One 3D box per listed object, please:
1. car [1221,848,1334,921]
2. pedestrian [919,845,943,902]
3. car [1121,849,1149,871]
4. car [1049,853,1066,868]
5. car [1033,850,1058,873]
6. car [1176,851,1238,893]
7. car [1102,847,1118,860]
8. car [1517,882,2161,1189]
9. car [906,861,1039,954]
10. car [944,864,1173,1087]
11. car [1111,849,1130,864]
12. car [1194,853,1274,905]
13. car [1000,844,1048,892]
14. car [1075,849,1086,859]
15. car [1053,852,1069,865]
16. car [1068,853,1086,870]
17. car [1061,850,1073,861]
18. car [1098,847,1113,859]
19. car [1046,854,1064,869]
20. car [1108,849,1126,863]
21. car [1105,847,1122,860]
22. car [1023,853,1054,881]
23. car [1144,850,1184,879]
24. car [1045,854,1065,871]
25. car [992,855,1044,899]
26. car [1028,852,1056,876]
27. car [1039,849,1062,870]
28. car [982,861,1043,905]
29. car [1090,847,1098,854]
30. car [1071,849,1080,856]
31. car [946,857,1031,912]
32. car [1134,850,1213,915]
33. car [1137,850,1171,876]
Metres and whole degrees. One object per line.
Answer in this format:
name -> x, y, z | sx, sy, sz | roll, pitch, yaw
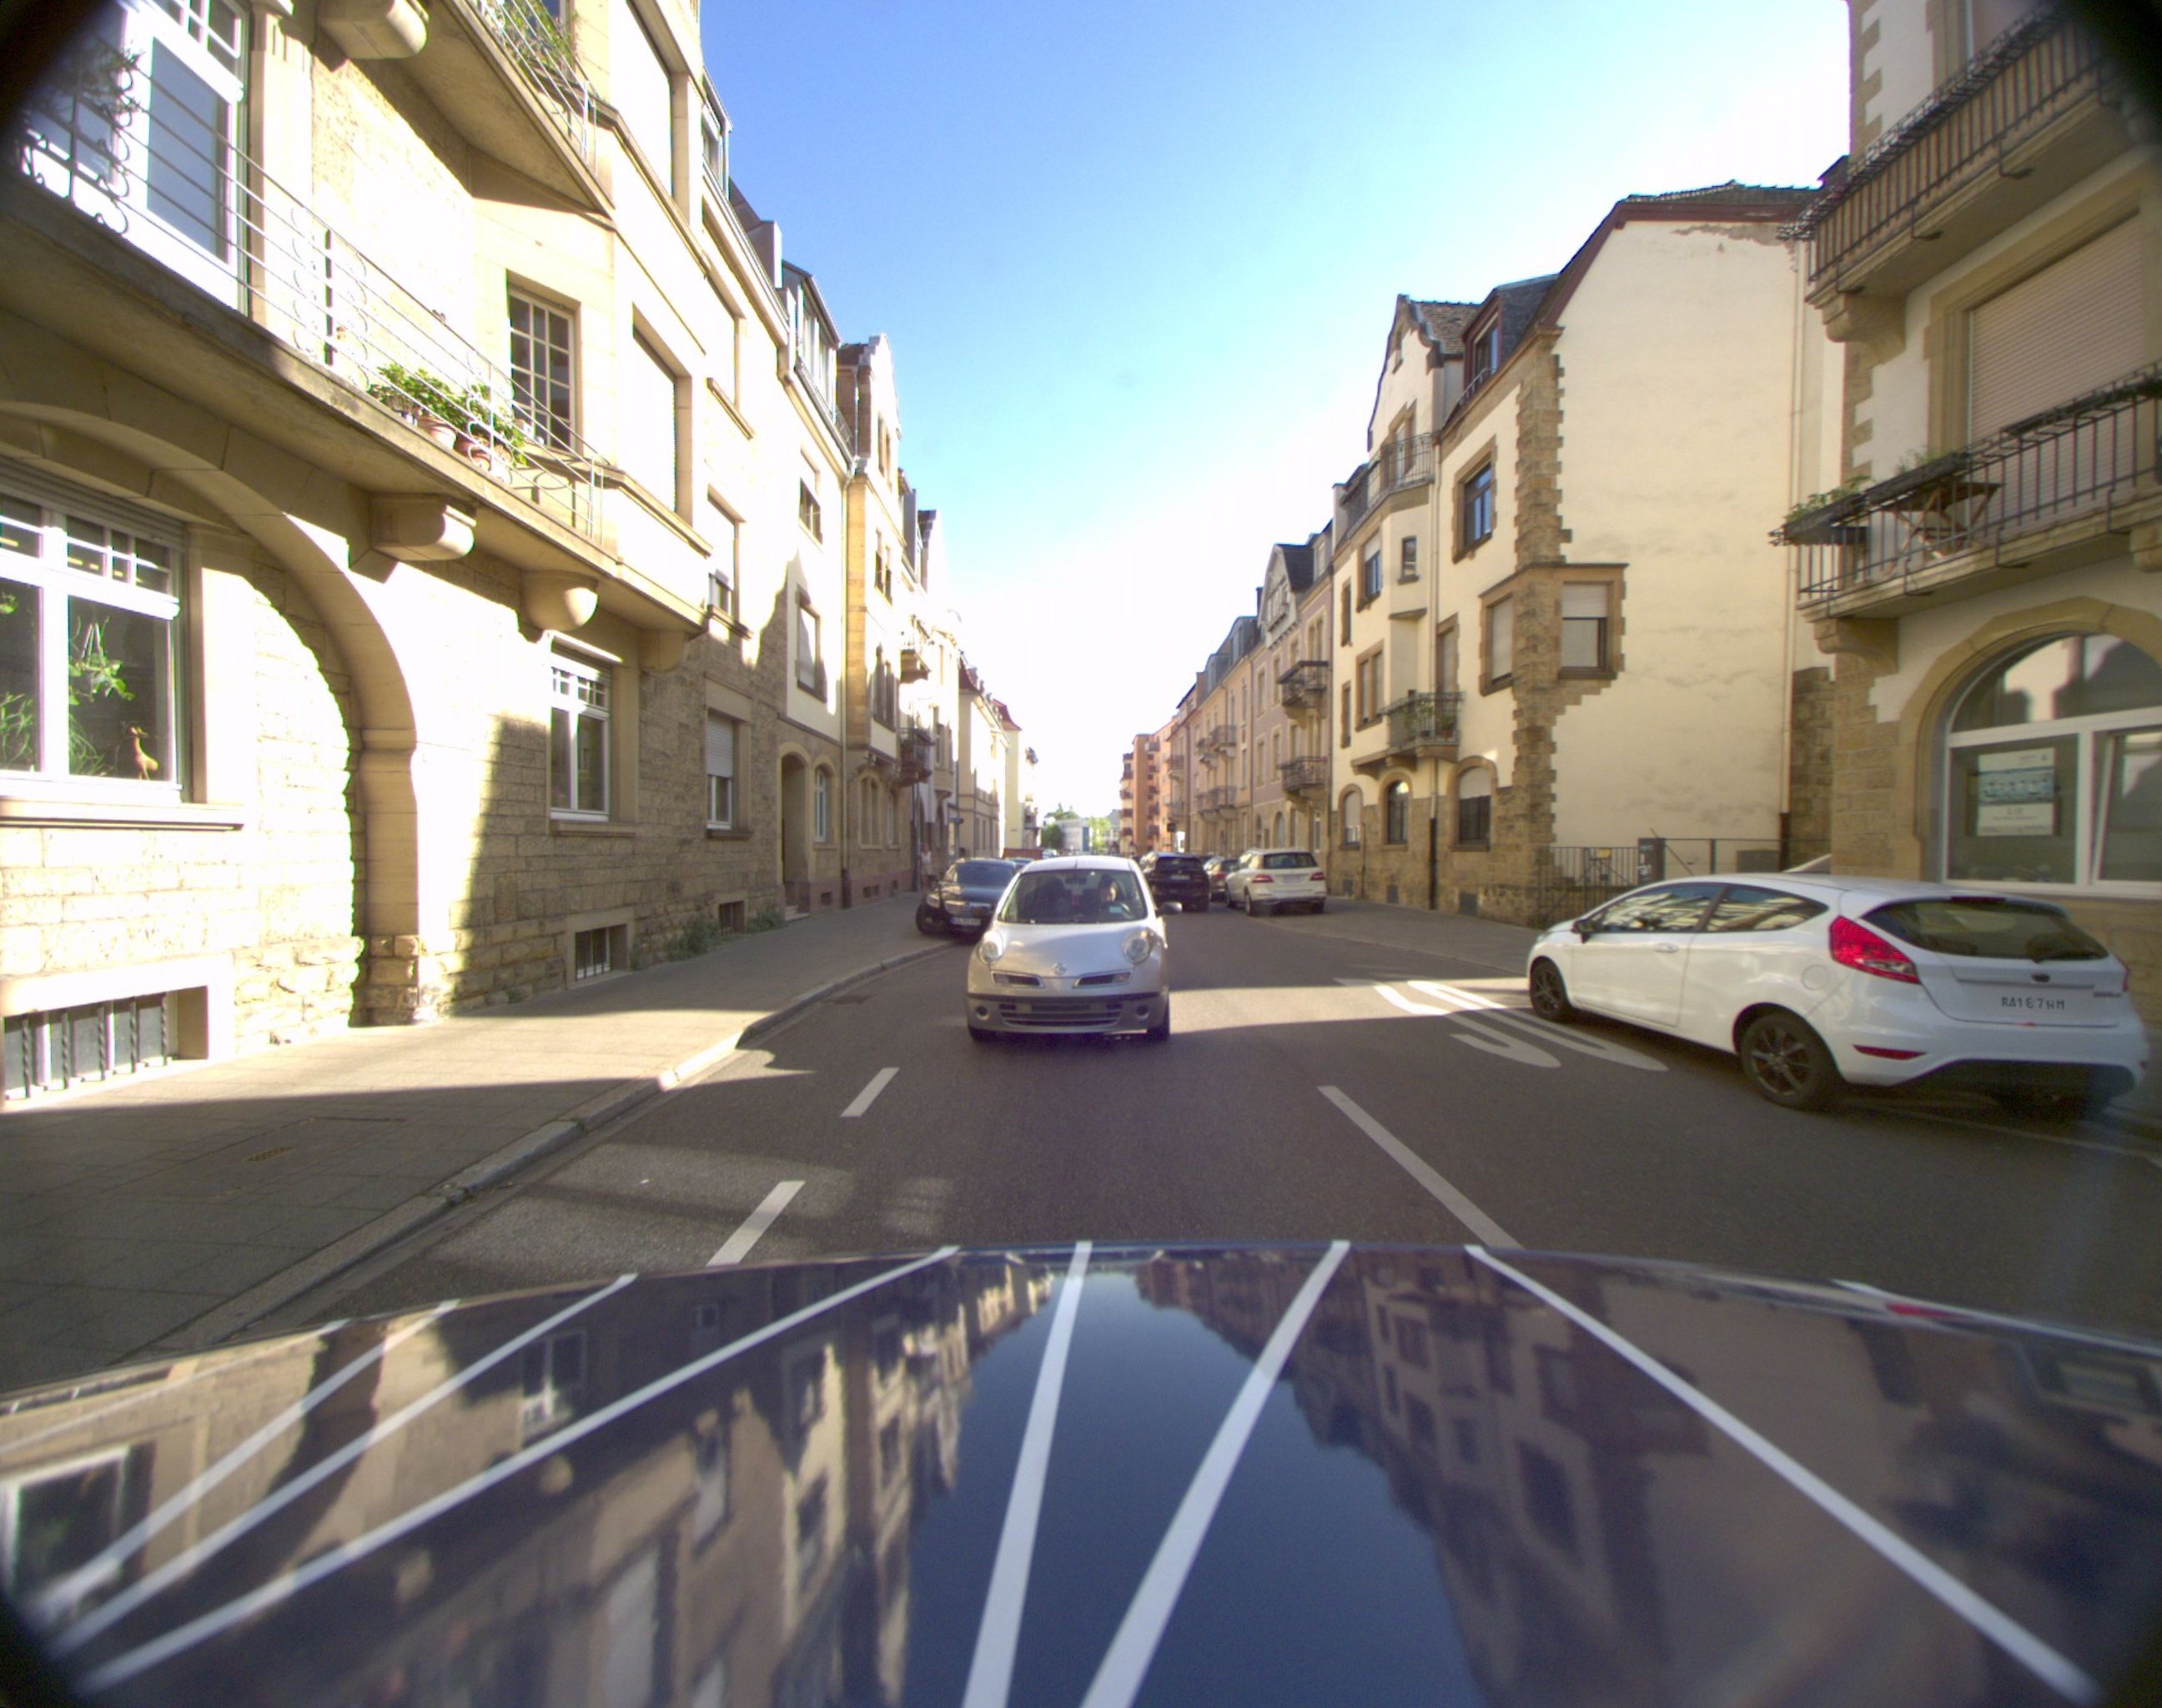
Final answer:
car -> 5.206, 0.733, 20.723 | 1.917, 1.650, 4.346 | -3, 1, 1
pedestrian -> -4.653, 0.593, 23.595 | 0.578, 1.712, 0.697 | 1, 1, 0
car -> 4.445, 0.505, 62.984 | 1.917, 1.614, 4.345 | -3, 1, 0
car -> -2.811, 0.777, 93.540 | 1.877, 1.657, 3.999 | -1, 1, 1
car -> -2.796, 0.580, 60.096 | 1.833, 1.649, 3.819 | -2, 0, -2
car -> 5.305, 0.724, 32.442 | 1.917, 1.509, 4.346 | -3, 1, 1
car -> 4.101, -0.103, 107.804 | 1.917, 1.614, 4.345 | -3, 1, -1
car -> 5.082, 1.013, 5.735 | 1.556, 1.403, 3.571 | 2, 0, 2
car -> -2.001, 0.949, 15.230 | 1.998, 1.528, 4.000 | -2, 0, 1
car -> -0.099, 0.922, 7.366 | 1.651, 1.559, 3.617 | -1, 0, 2
car -> 4.768, 0.265, 91.499 | 1.917, 1.614, 4.345 | -3, 1, -1
car -> 5.238, 0.792, 26.585 | 1.917, 1.509, 4.346 | -3, 1, 1
car -> -2.575, 0.613, 35.054 | 1.833, 2.023, 3.819 | -2, 0, 0
car -> -0.077, 0.030, 137.786 | 1.877, 1.657, 3.999 | -1, 1, 1
car -> -2.558, 0.551, 99.812 | 1.877, 1.657, 3.999 | -1, 1, 1
car -> -0.420, 0.807, 82.652 | 1.877, 1.657, 3.999 | -1, 1, 1
car -> -2.276, 0.275, 123.378 | 1.877, 1.657, 3.999 | -1, 1, 1
car -> 3.747, -0.201, 117.814 | 1.917, 1.614, 4.345 | -3, 1, -1
car -> -2.970, 0.839, 88.532 | 1.877, 1.657, 3.999 | -1, 1, 1
car -> 4.582, 0.216, 96.449 | 1.917, 1.614, 4.345 | -3, 1, -1
car -> 4.351, -0.049, 102.063 | 1.917, 1.614, 4.345 | -3, 1, -1
car -> -2.628, 0.793, 47.743 | 1.833, 1.586, 3.819 | -2, 0, -2
car -> 4.985, 0.583, 46.225 | 1.917, 1.509, 4.346 | -3, 1, 1
car -> -2.782, 0.900, 82.480 | 1.877, 1.657, 3.999 | -1, 1, 1
car -> -2.457, 0.879, 30.584 | 1.833, 1.586, 3.819 | -2, 0, -2
car -> -2.706, 0.689, 53.667 | 1.833, 1.586, 3.819 | -2, 0, -2
car -> -2.592, 0.485, 65.149 | 1.833, 1.649, 3.819 | -2, 0, -2
car -> -2.311, 0.963, 26.429 | 1.833, 1.337, 3.819 | -2, 0, -2
car -> 3.392, -0.913, 200.424 | 1.917, 1.614, 4.345 | -3, 1, -1
car -> -1.282, -0.399, 180.378 | 1.877, 1.657, 3.999 | -1, 1, 1
car -> -2.510, 0.801, 21.628 | 1.833, 1.337, 4.000 | -2, 0, 1
car -> 2.645, 0.757, 22.565 | 1.917, 1.718, 4.347 | 1, 0, 2
car -> 5.022, 0.598, 52.655 | 1.917, 1.614, 4.346 | -3, 1, 1
